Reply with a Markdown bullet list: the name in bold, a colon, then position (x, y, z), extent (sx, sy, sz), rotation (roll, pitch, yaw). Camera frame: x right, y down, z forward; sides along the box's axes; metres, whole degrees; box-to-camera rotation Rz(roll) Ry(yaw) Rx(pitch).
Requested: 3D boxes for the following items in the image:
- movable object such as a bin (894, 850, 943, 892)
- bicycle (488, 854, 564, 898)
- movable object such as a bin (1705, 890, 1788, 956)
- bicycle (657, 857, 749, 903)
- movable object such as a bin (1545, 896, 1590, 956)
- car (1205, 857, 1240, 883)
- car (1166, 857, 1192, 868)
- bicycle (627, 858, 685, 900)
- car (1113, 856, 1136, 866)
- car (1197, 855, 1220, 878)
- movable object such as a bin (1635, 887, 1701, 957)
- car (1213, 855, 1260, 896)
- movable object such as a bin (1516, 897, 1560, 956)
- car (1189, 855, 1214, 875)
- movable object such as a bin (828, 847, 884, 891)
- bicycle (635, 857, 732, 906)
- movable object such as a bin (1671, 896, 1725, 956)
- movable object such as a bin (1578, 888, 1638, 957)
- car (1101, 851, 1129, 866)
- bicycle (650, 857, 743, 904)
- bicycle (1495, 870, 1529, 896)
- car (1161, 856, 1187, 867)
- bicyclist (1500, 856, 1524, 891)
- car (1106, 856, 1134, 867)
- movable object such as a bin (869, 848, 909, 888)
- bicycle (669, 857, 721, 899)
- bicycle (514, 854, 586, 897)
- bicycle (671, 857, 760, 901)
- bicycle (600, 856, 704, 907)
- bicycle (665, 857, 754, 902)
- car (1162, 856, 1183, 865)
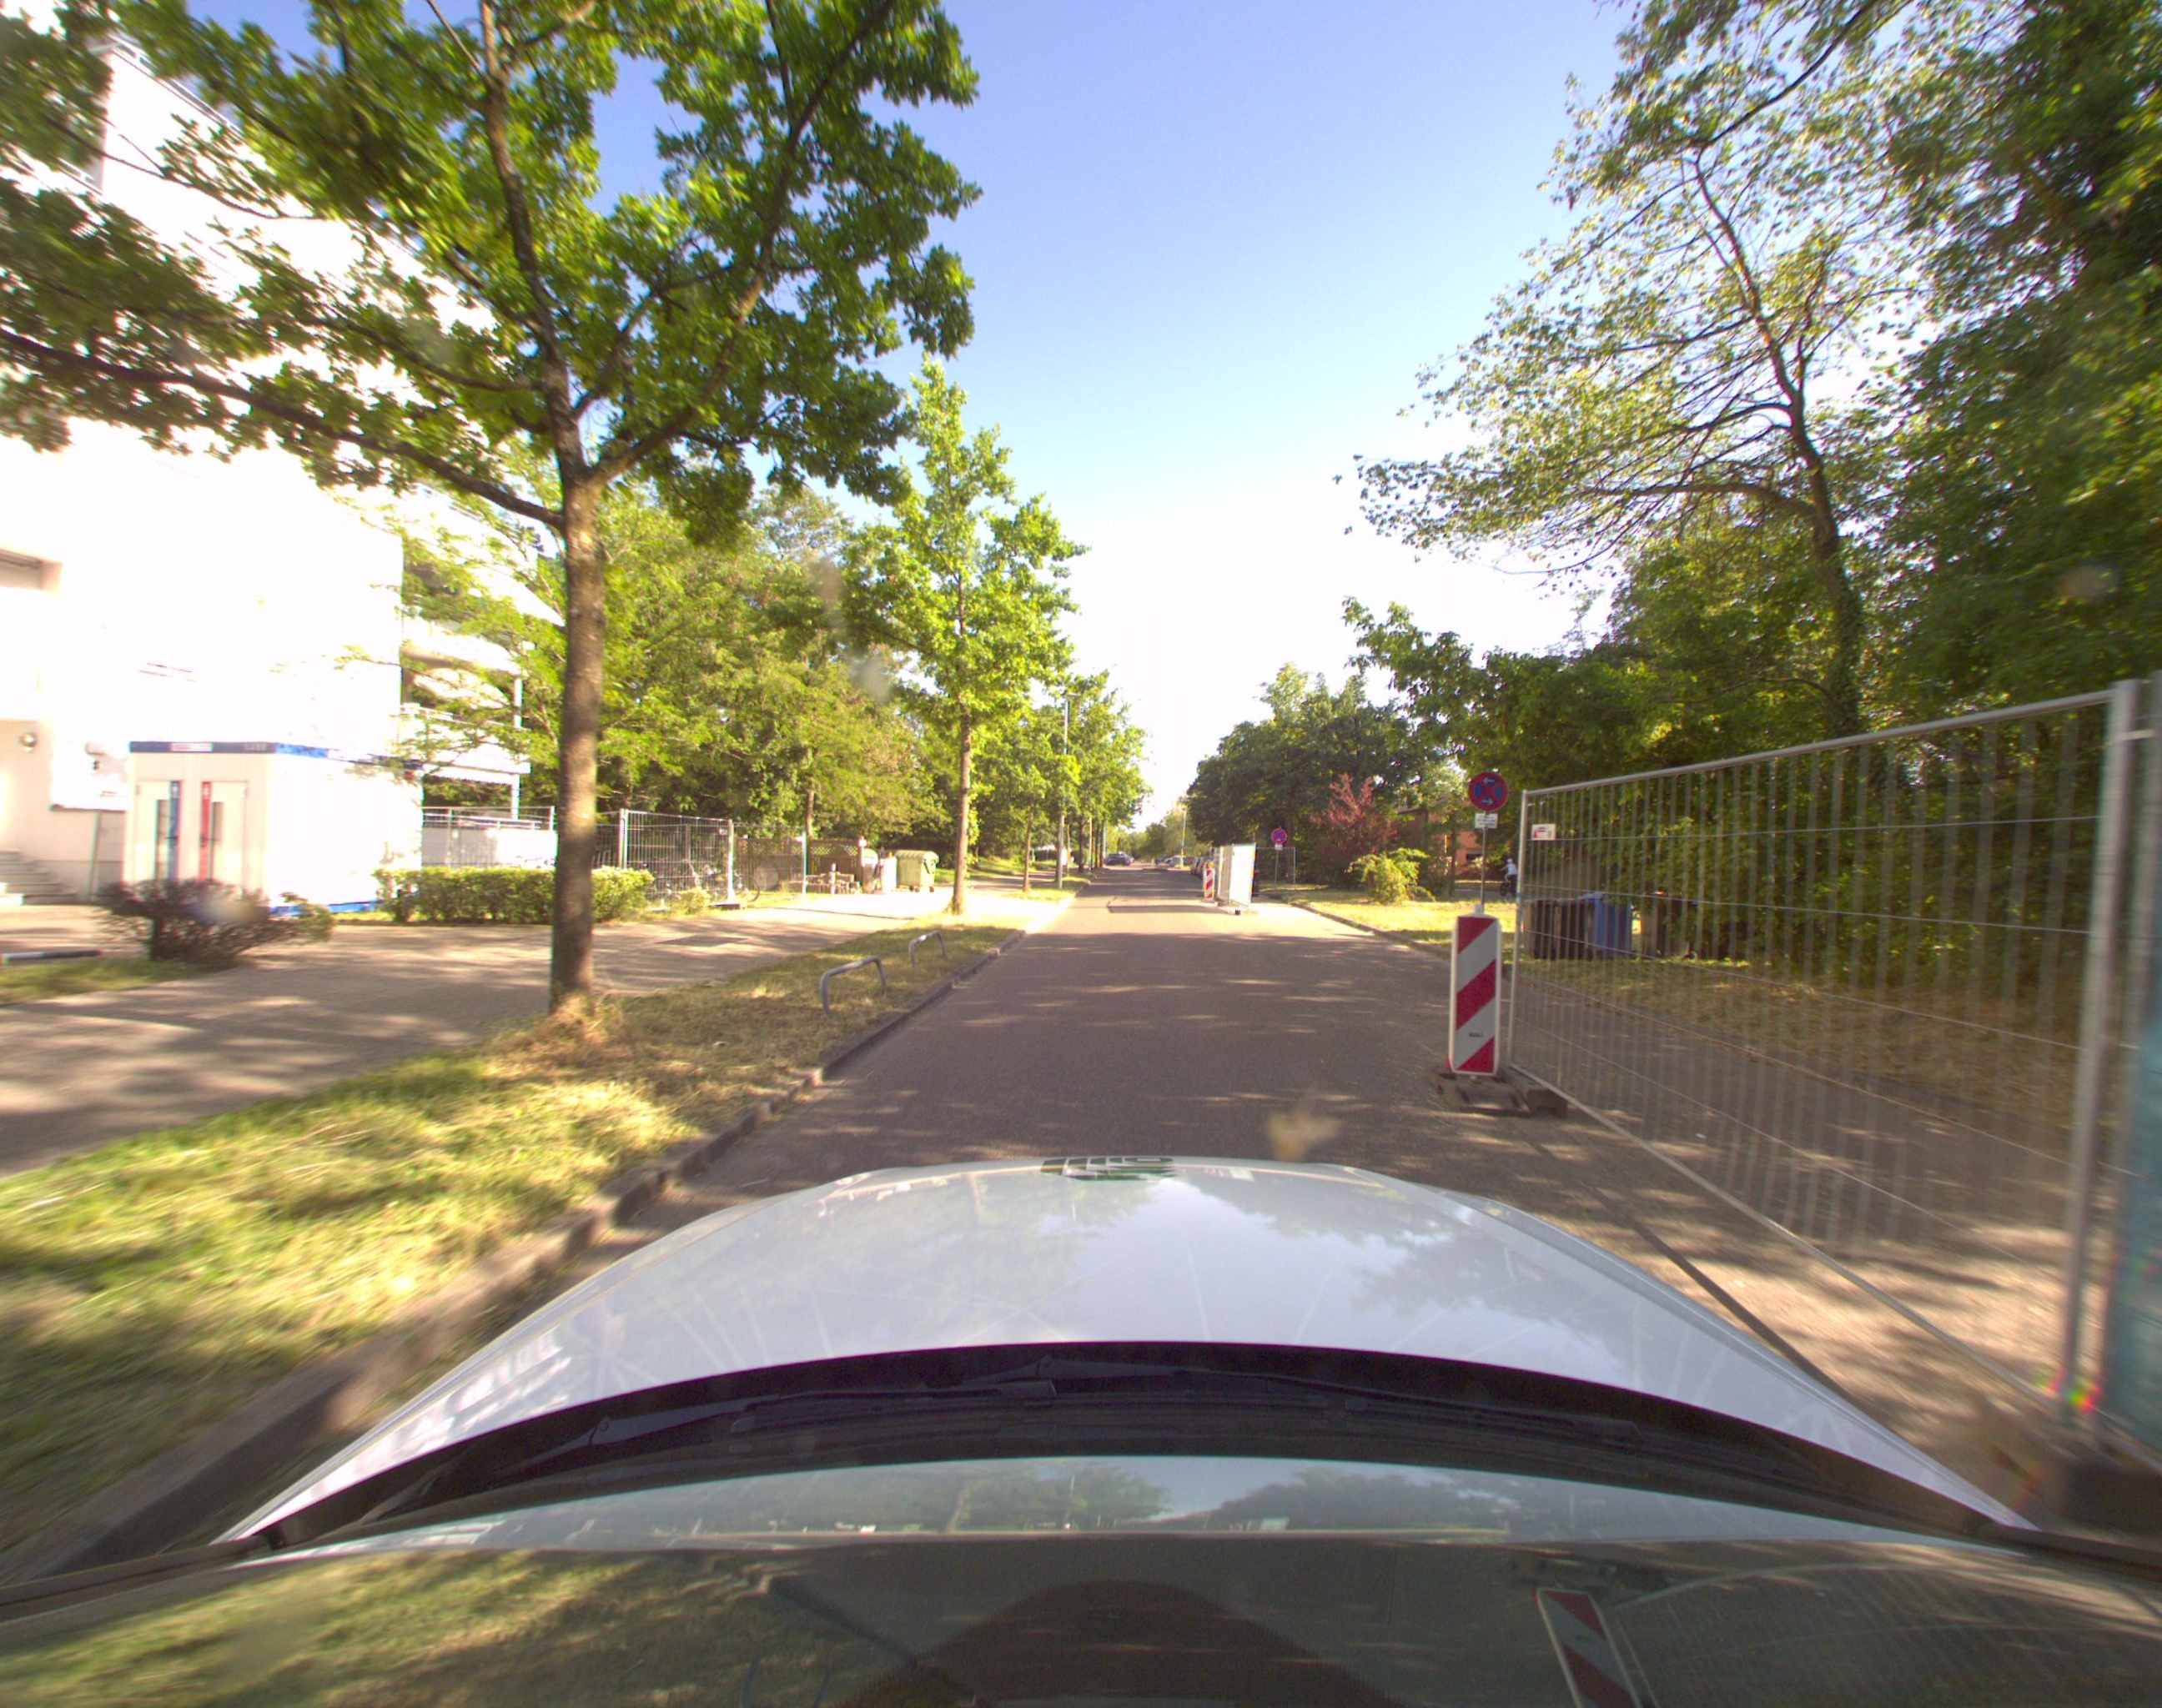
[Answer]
- **movable object such as a bin**: position (-5.745, 0.595, 28.851), extent (1.258, 1.435, 1.187), rotation (1, 0, 20)
- **bicycle**: position (-13.678, 0.536, 20.076), extent (1.685, 1.027, 0.401), rotation (1, -1, 9)
- **movable object such as a bin**: position (10.046, 1.031, 12.316), extent (0.691, 0.928, 0.696), rotation (-1, -1, 5)
- **bicycle**: position (-8.788, 0.609, 18.966), extent (1.858, 1.027, 0.399), rotation (1, -1, -9)
- **movable object such as a bin**: position (7.433, 1.089, 12.444), extent (0.411, 0.870, 0.485), rotation (-1, -1, 5)
- **car**: position (9.328, 1.026, 54.033), extent (1.768, 1.621, 4.068), rotation (3, 0, 3)
- **car**: position (15.388, 1.318, 127.988), extent (3.814, 1.576, 1.693), rotation (3, 0, 10)
- **bicycle**: position (-10.917, 0.624, 20.974), extent (0.397, 1.027, 1.703), rotation (1, -1, 7)
- **car**: position (7.984, 1.257, 149.387), extent (4.086, 1.576, 1.962), rotation (3, 0, 6)
- **car**: position (10.545, 1.035, 67.518), extent (1.615, 1.773, 3.673), rotation (3, 0, 5)
- **movable object such as a bin**: position (8.779, 1.007, 12.205), extent (0.560, 0.999, 0.609), rotation (-1, -1, 5)
- **car**: position (6.899, 0.911, 36.436), extent (1.800, 1.651, 4.431), rotation (3, 0, 8)
- **movable object such as a bin**: position (6.937, 1.094, 12.383), extent (0.411, 0.870, 0.485), rotation (-1, -1, 5)
- **car**: position (11.635, 1.014, 78.672), extent (1.784, 1.785, 4.558), rotation (3, 0, 1)
- **movable object such as a bin**: position (-7.667, 0.490, 27.768), extent (1.257, 1.435, 1.334), rotation (1, 0, 32)
- **bicycle**: position (-8.779, 0.605, 18.017), extent (1.854, 1.027, 0.399), rotation (1, -1, -9)
- **movable object such as a bin**: position (9.377, 1.093, 12.389), extent (0.416, 0.870, 0.525), rotation (-1, -1, 5)
- **movable object such as a bin**: position (7.936, 1.017, 12.281), extent (0.516, 0.999, 0.609), rotation (-1, -1, 5)
- **car**: position (6.550, 0.888, 158.470), extent (5.184, 2.621, 2.293), rotation (3, 0, -1)
- **bicycle**: position (-8.716, 0.606, 18.488), extent (1.837, 1.027, 0.399), rotation (1, -1, -9)
- **bicycle**: position (19.042, 1.269, 36.024), extent (0.629, 1.040, 1.787), rotation (1, 0, 4)
- **car**: position (14.956, 1.254, 130.853), extent (3.814, 1.576, 1.693), rotation (3, 0, 10)
- **bicyclist**: position (19.056, 0.849, 36.000), extent (0.629, 1.499, 0.841), rotation (1, 0, 3)
- **car**: position (6.335, 1.151, 133.144), extent (4.291, 1.576, 2.052), rotation (3, 0, 11)
- **movable object such as a bin**: position (-7.238, 0.521, 30.601), extent (1.148, 1.435, 1.261), rotation (1, 0, -29)
- **bicycle**: position (-9.898, 0.613, 20.942), extent (0.397, 1.027, 1.702), rotation (1, -1, 4)
- **bicycle**: position (-13.518, 0.543, 20.743), extent (1.685, 1.027, 0.401), rotation (1, -1, 9)
- **bicycle**: position (-8.890, 0.609, 19.863), extent (1.914, 1.027, 0.399), rotation (1, -1, -9)
- **bicycle**: position (-8.986, 0.577, 17.087), extent (1.868, 1.027, 0.399), rotation (1, -1, -9)
- **bicycle**: position (-8.829, 0.610, 19.392), extent (1.837, 1.027, 0.399), rotation (1, -1, -9)
- **car**: position (17.260, 1.192, 153.387), extent (3.814, 1.576, 1.693), rotation (3, 0, 10)
